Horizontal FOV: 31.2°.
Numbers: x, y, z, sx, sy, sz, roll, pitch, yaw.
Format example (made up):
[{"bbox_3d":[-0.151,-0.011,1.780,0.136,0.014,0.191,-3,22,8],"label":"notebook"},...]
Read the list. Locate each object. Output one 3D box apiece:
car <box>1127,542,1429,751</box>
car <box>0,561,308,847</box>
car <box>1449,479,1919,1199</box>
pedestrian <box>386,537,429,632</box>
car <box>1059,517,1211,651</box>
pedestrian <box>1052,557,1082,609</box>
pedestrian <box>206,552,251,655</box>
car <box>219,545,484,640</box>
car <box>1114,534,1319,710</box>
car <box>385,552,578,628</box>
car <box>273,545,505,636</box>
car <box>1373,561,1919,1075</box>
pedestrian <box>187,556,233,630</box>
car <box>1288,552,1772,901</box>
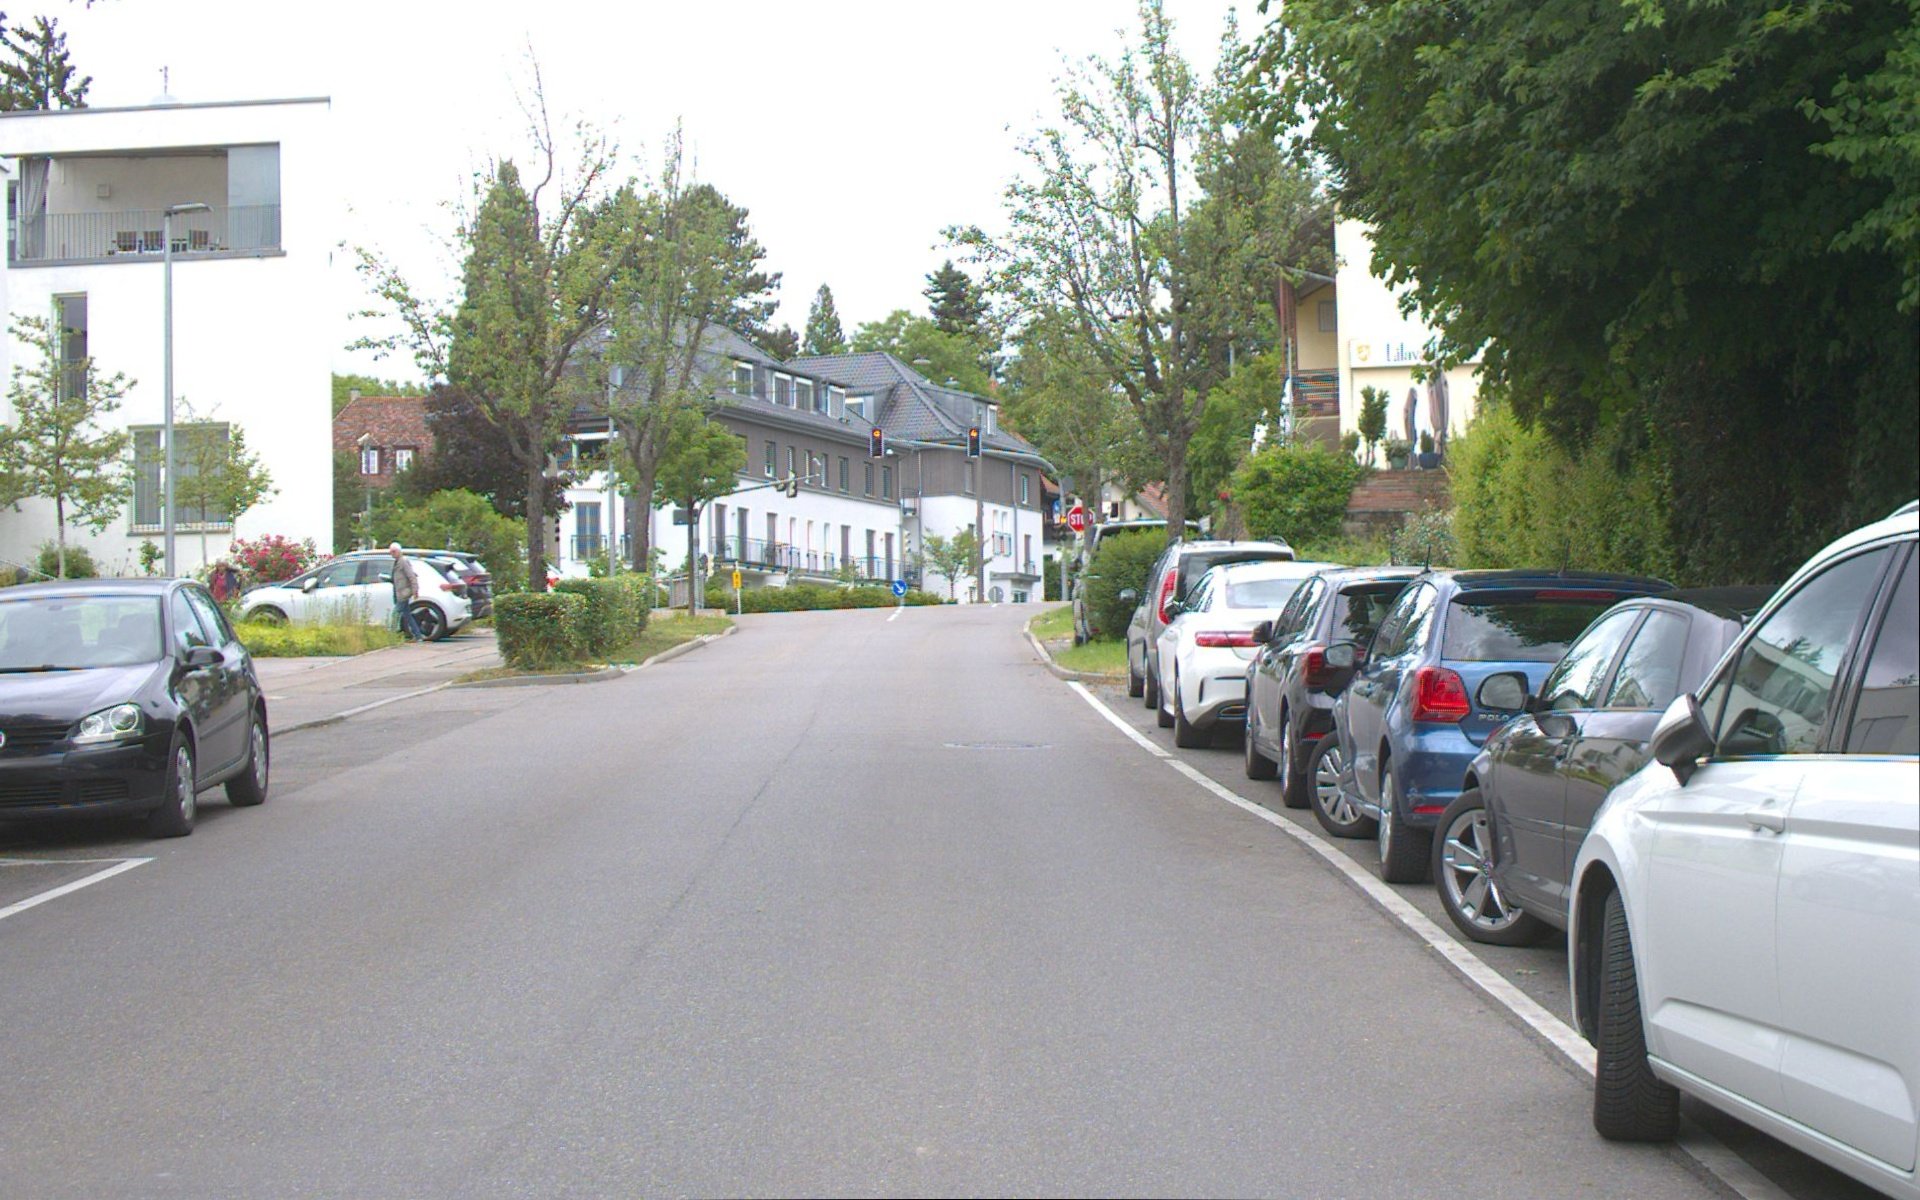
[{"bbox_3d":[2.476,0.303,27.946,1.993,1.486,5.004,-2,1,1],"label":"car"},{"bbox_3d":[-5.198,0.536,20.387,1.850,1.464,4.683,-2,1,-2],"label":"car"},{"bbox_3d":[2.616,0.536,7.519,2.000,1.603,4.759,-2,1,-5],"label":"car"},{"bbox_3d":[-9.608,-0.275,59.818,0.593,1.635,0.565,-2,0,1],"label":"pedestrian"},{"bbox_3d":[2.509,-0.255,50.554,1.936,1.831,5.219,-1,1,0],"label":"car"},{"bbox_3d":[3.520,-0.569,112.795,0.685,1.676,0.699,-1,1,35],"label":"pedestrian"},{"bbox_3d":[-11.982,0.051,56.344,0.589,1.676,0.519,-1,0,1],"label":"pedestrian"},{"bbox_3d":[-10.906,-0.148,61.867,4.386,1.561,2.066,-2,1,-1],"label":"car"},{"bbox_3d":[2.493,0.183,34.192,1.717,1.627,3.929,1,1,0],"label":"car"},{"bbox_3d":[-11.207,-0.225,80.707,4.259,1.618,2.014,-2,-1,-3],"label":"car"},{"bbox_3d":[-10.677,-0.180,64.479,3.987,1.648,2.008,0,1,1],"label":"car"},{"bbox_3d":[2.814,0.607,12.192,1.809,1.447,4.379,-2,1,-5],"label":"car"},{"bbox_3d":[-12.988,-0.126,59.534,0.607,1.279,0.899,0,0,0],"label":"pedestrian"},{"bbox_3d":[2.698,0.529,17.166,1.697,1.503,4.160,1,1,0],"label":"car"}]
